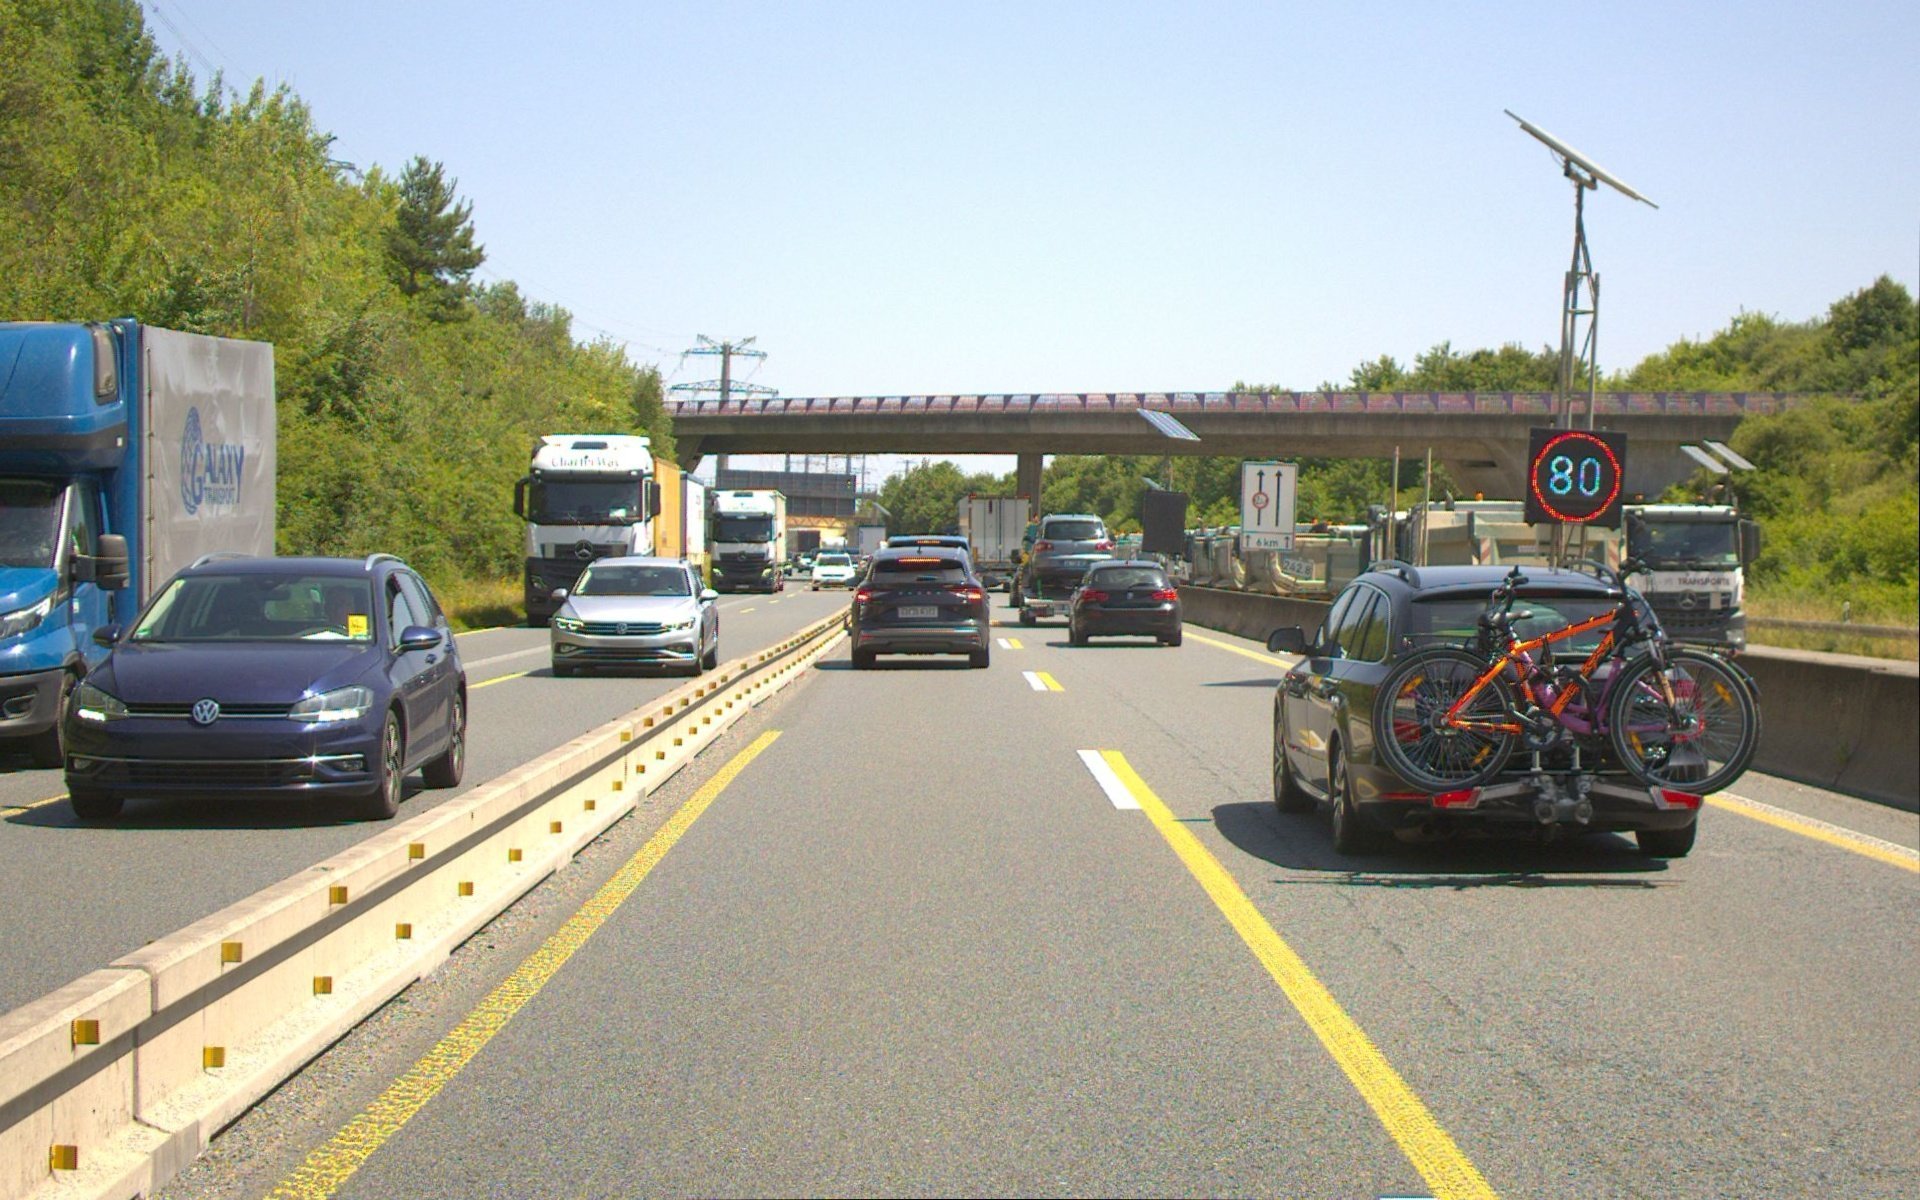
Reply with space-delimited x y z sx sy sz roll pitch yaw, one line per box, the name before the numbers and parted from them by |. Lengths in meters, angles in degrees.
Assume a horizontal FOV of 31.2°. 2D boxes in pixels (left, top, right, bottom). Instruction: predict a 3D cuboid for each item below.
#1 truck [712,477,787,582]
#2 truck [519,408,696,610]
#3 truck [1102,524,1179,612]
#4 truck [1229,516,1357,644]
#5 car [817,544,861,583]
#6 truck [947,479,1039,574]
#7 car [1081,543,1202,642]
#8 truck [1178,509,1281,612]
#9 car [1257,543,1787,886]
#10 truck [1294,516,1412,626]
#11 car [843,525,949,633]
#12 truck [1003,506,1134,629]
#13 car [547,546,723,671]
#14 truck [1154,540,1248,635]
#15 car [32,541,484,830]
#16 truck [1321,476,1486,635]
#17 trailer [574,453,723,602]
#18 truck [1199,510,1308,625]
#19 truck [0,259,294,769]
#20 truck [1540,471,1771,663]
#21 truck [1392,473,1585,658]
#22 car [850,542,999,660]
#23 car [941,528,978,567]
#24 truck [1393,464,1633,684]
truck | -8.367 -2.799 137.353 2.409 3.978 10.353 1 1 -1
truck | -7.501 -1.912 74.291 2.649 3.978 9.651 2 1 0
truck | 7.915 -1.453 151.736 2.687 3.748 9.326 1 1 -1
truck | 9.657 -0.636 100.530 2.687 3.545 9.603 1 1 -1
car | -5.191 -1.559 147.972 1.824 1.625 4.151 1 0 -1
truck | 1.339 -3.073 145.299 3.292 3.832 10.111 1 1 -3
car | 3.017 -0.152 57.890 1.899 1.580 4.276 1 1 2
truck | 9.675 -1.434 124.270 2.687 3.545 9.326 1 1 -2
car | 2.691 0.486 17.634 1.899 1.485 4.947 1 0 0
truck | 12.566 -0.972 110.658 2.687 3.366 9.603 1 1 0
car | -1.189 -0.413 65.666 1.899 1.962 4.276 1 1 0
truck | 2.329 -0.771 75.840 2.405 2.549 7.501 1 1 -2
car | -4.042 0.082 43.356 1.841 1.485 4.511 -1 0 -1
truck | 9.287 -0.546 133.466 2.687 3.545 9.326 1 1 -2
car | -3.974 0.431 20.169 1.761 1.485 4.402 1 0 0
truck | 10.482 -1.078 82.137 2.538 3.545 9.603 1 1 -1
trailer | -7.480 -1.741 83.579 2.650 3.325 8.919 2 1 0
truck | 9.490 -1.087 112.127 2.687 3.545 9.406 1 1 0
truck | -7.031 -0.652 26.152 2.405 3.318 7.500 1 1 0
truck | 13.494 -0.667 67.388 2.687 3.499 8.381 1 1 -1
truck | 10.614 -0.724 69.903 2.533 3.499 8.944 1 1 0
car | -0.452 -0.006 46.547 1.899 1.500 4.276 1 1 0
car | -0.029 -2.753 180.735 1.899 1.962 4.276 1 1 0
truck | 9.448 -0.481 59.738 2.533 3.499 9.097 1 1 -1
